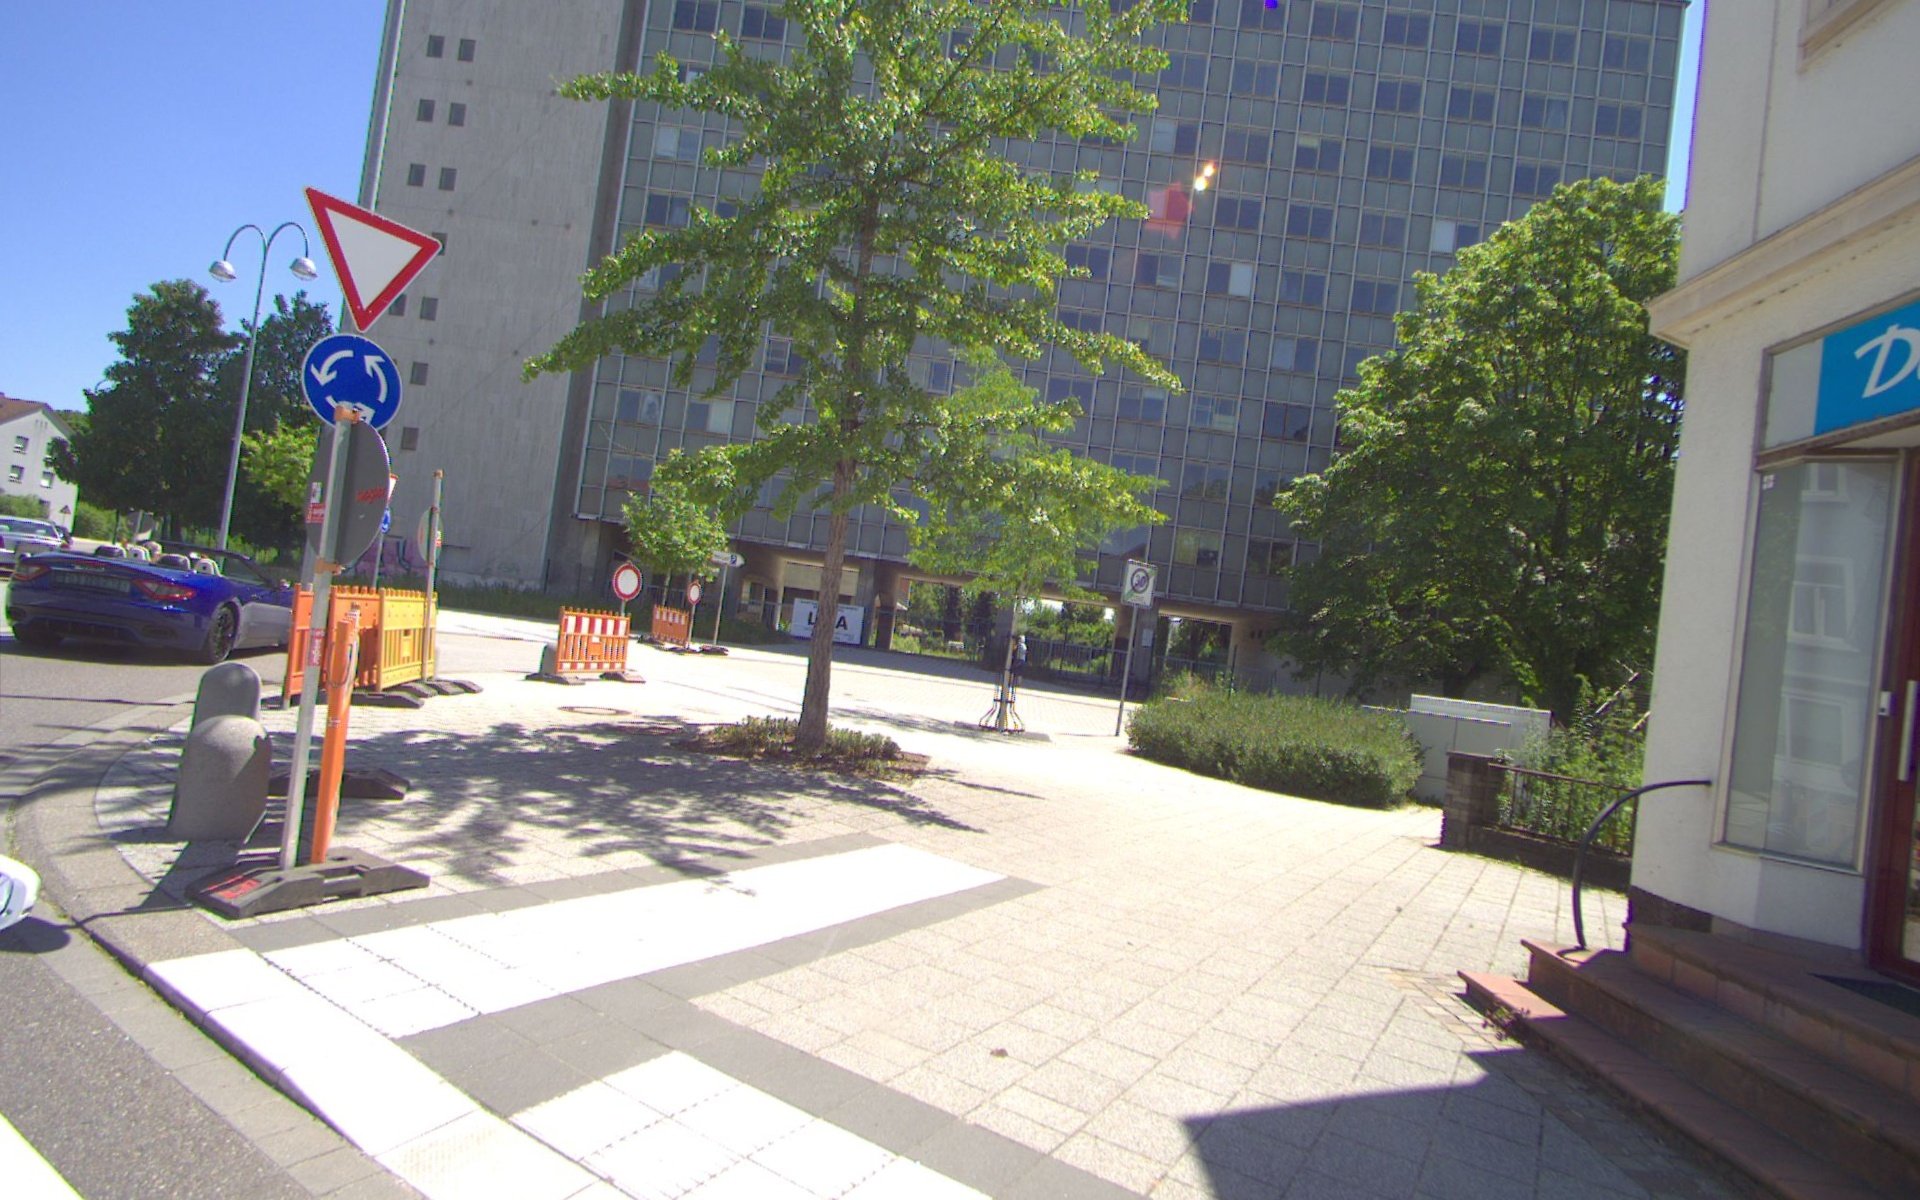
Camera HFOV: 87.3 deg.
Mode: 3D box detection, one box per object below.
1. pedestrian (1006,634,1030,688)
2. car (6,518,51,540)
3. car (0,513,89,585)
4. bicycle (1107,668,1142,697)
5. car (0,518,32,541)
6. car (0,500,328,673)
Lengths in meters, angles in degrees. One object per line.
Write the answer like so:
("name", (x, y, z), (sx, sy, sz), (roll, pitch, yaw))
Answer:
("pedestrian", (1.936, 2.034, 33.812), (0.555, 1.730, 0.487), (7, 1, 9))
("car", (-76.372, -5.784, 82.521), (1.725, 1.453, 3.684), (7, -1, -29))
("car", (-22.764, -1.313, 24.187), (3.651, 1.453, 1.740), (6, -1, 34))
("bicycle", (6.099, 3.061, 37.425), (0.442, 0.917, 1.748), (7, -2, -17))
("car", (-68.795, -5.153, 72.618), (1.725, 1.453, 3.684), (7, -1, -29))
("car", (-9.674, -0.074, 12.550), (1.850, 1.546, 4.493), (8, -3, -18))
